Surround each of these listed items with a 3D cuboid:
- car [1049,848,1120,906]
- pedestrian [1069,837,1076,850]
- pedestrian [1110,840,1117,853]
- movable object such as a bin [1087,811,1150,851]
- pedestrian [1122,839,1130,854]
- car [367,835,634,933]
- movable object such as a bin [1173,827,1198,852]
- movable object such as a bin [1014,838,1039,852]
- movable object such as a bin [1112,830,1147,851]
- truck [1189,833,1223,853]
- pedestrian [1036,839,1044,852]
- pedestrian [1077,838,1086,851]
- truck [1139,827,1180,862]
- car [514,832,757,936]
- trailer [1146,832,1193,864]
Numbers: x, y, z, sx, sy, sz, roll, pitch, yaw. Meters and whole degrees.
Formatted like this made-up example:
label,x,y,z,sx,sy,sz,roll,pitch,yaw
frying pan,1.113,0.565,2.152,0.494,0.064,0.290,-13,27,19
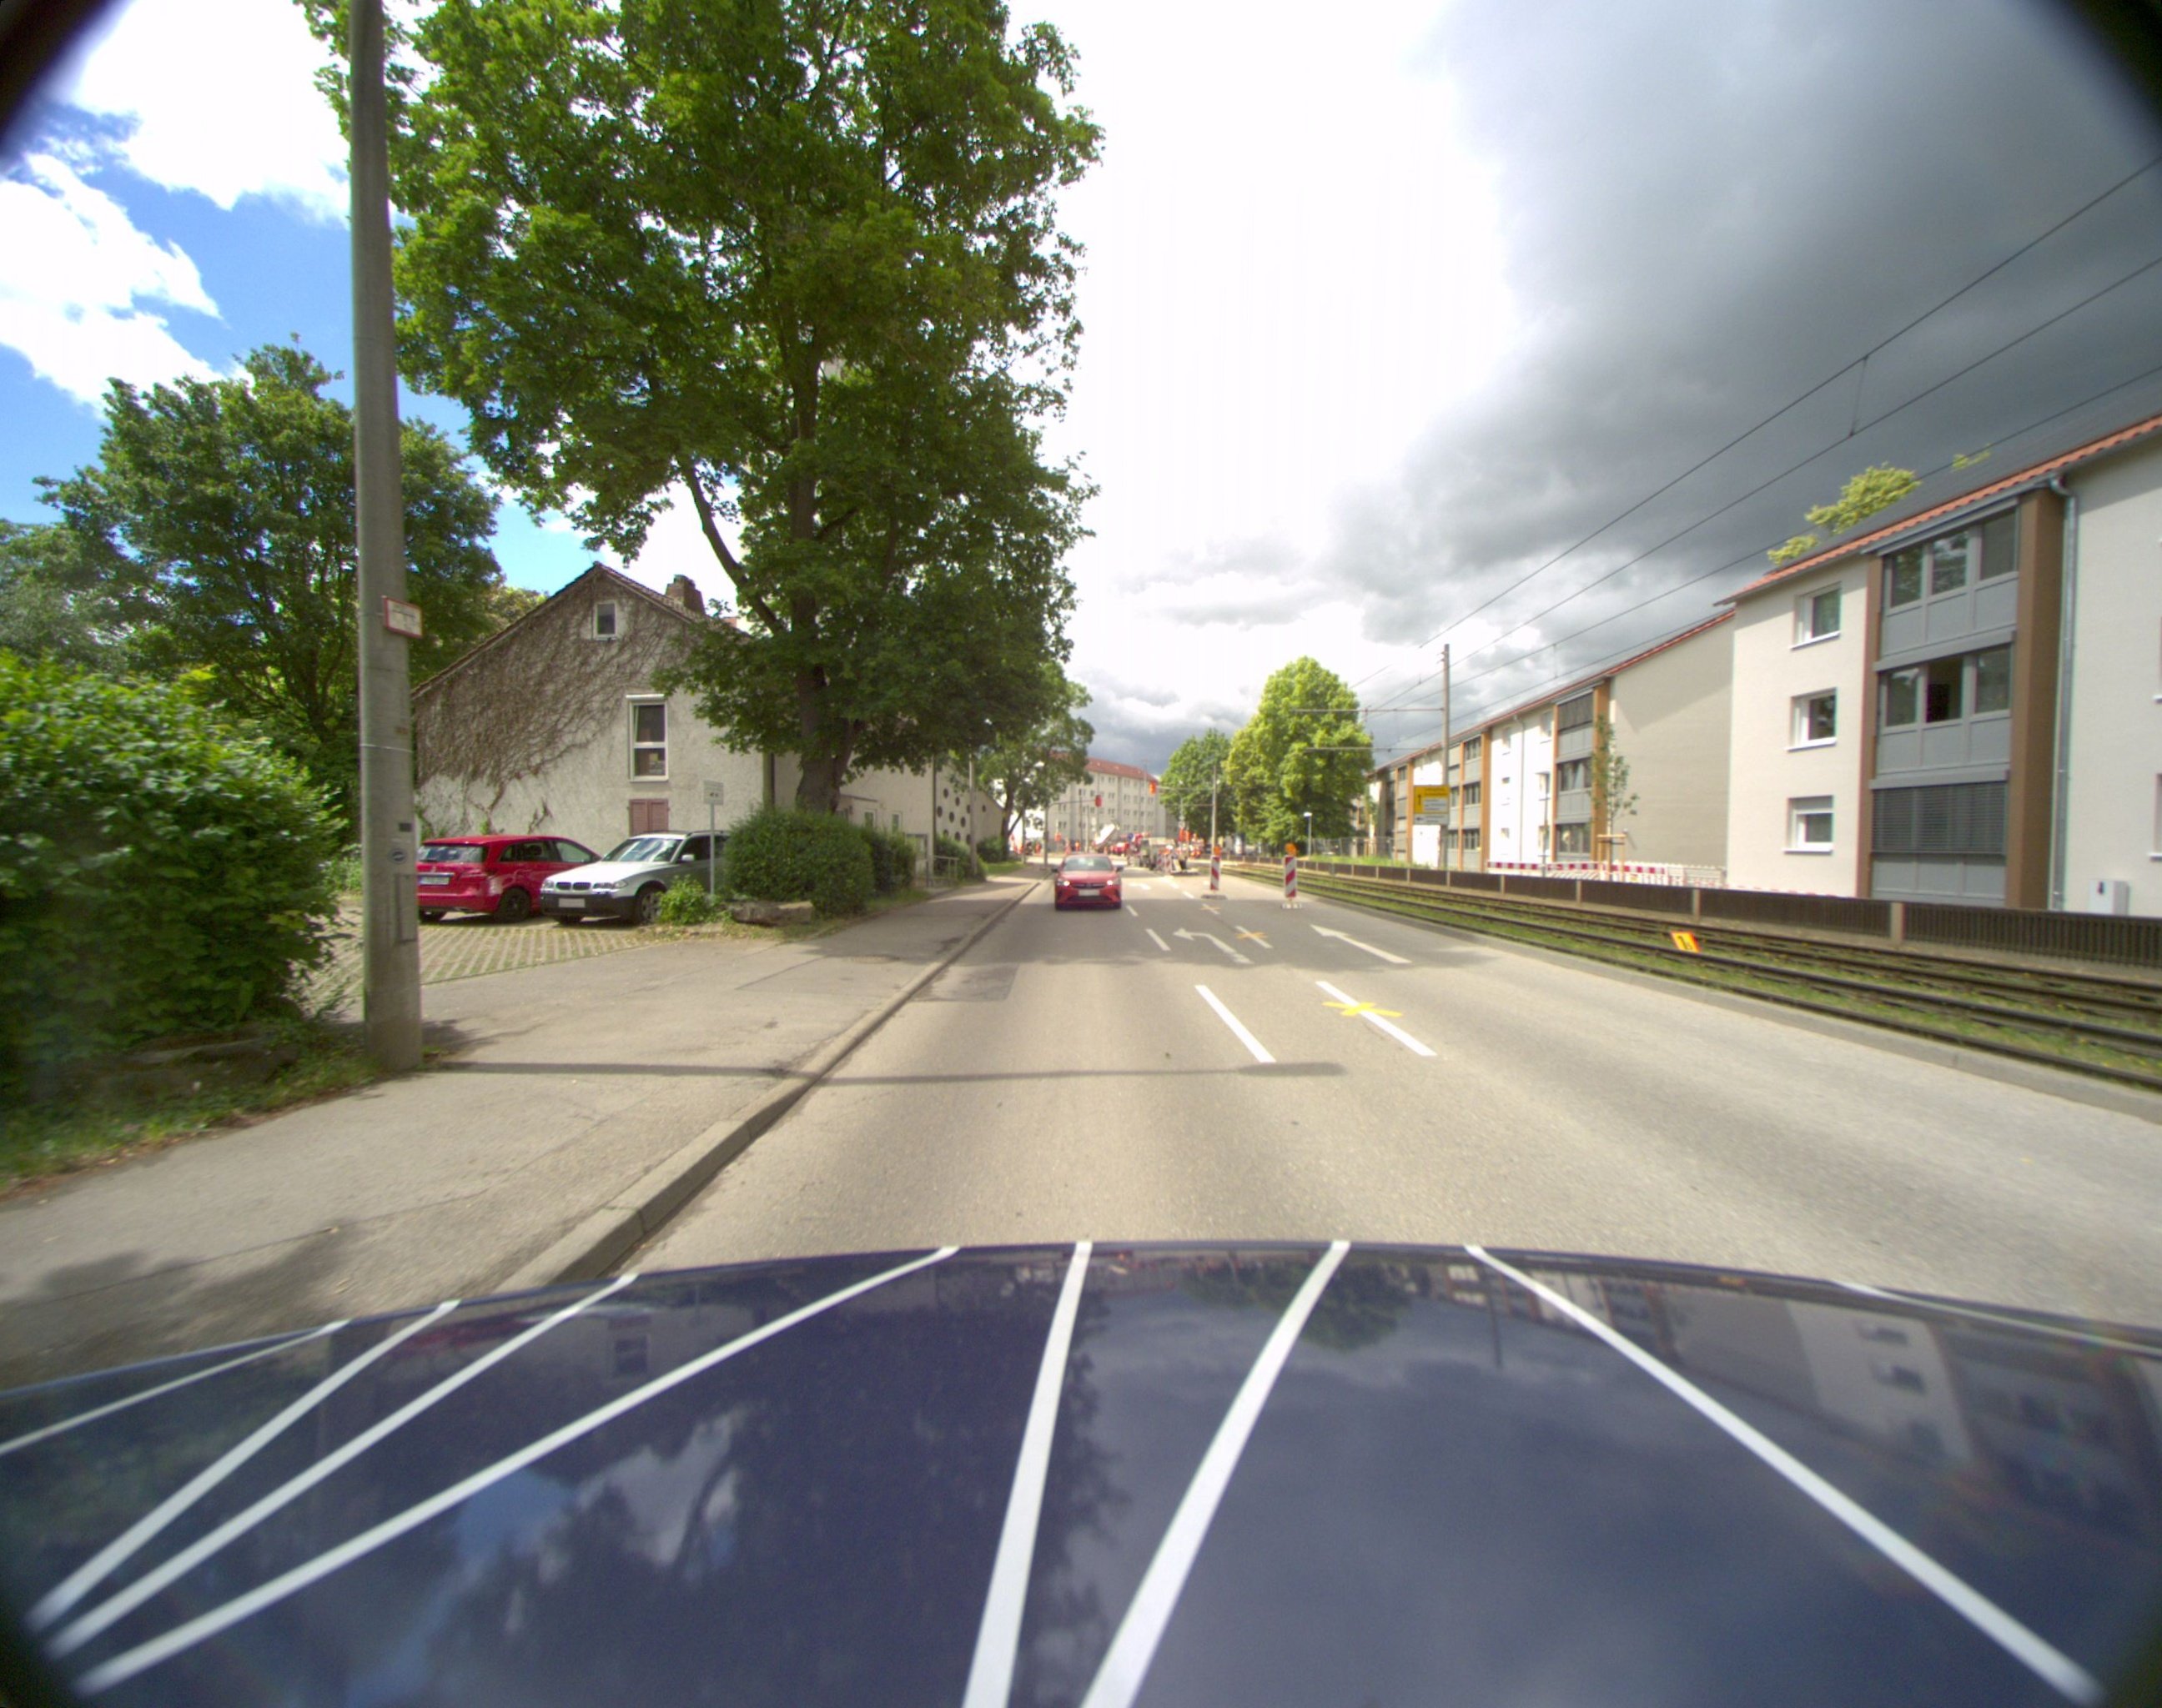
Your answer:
label,x,y,z,sx,sy,sz,roll,pitch,yaw
car,0.178,0.576,21.380,1.769,1.425,3.838,-2,1,3
pedestrian,-1.254,-1.503,111.300,0.882,1.897,0.665,-1,3,-25
pedestrian,4.447,-1.058,103.716,0.611,1.778,0.583,0,1,31
movable object such as a bin,5.361,-3.174,107.804,9.053,5.453,2.813,0,1,-34
pedestrian,5.677,-0.972,95.384,0.796,1.822,0.970,0,3,-9
car,-10.716,0.448,14.466,1.815,1.574,4.000,1,1,4
movable object such as a bin,19.569,-2.722,142.100,2.819,4.509,6.221,1,1,27
movable object such as a bin,-7.621,-1.245,106.624,2.959,2.002,2.004,1,1,37
movable object such as a bin,6.536,-1.844,101.991,2.109,2.654,5.598,2,2,34
truck,16.635,-1.461,100.696,2.412,2.554,5.594,1,1,33
pedestrian,-5.677,-1.216,105.055,0.767,1.829,0.785,1,1,26
pedestrian,0.085,-1.419,110.692,0.871,1.813,1.098,1,1,28
truck,6.341,-0.810,62.109,2.669,2.710,6.394,-1,1,-1
car,-8.111,0.444,14.346,1.815,1.640,4.002,1,1,9
trailer,6.400,-0.449,55.815,2.669,2.201,6.246,-1,1,-1
